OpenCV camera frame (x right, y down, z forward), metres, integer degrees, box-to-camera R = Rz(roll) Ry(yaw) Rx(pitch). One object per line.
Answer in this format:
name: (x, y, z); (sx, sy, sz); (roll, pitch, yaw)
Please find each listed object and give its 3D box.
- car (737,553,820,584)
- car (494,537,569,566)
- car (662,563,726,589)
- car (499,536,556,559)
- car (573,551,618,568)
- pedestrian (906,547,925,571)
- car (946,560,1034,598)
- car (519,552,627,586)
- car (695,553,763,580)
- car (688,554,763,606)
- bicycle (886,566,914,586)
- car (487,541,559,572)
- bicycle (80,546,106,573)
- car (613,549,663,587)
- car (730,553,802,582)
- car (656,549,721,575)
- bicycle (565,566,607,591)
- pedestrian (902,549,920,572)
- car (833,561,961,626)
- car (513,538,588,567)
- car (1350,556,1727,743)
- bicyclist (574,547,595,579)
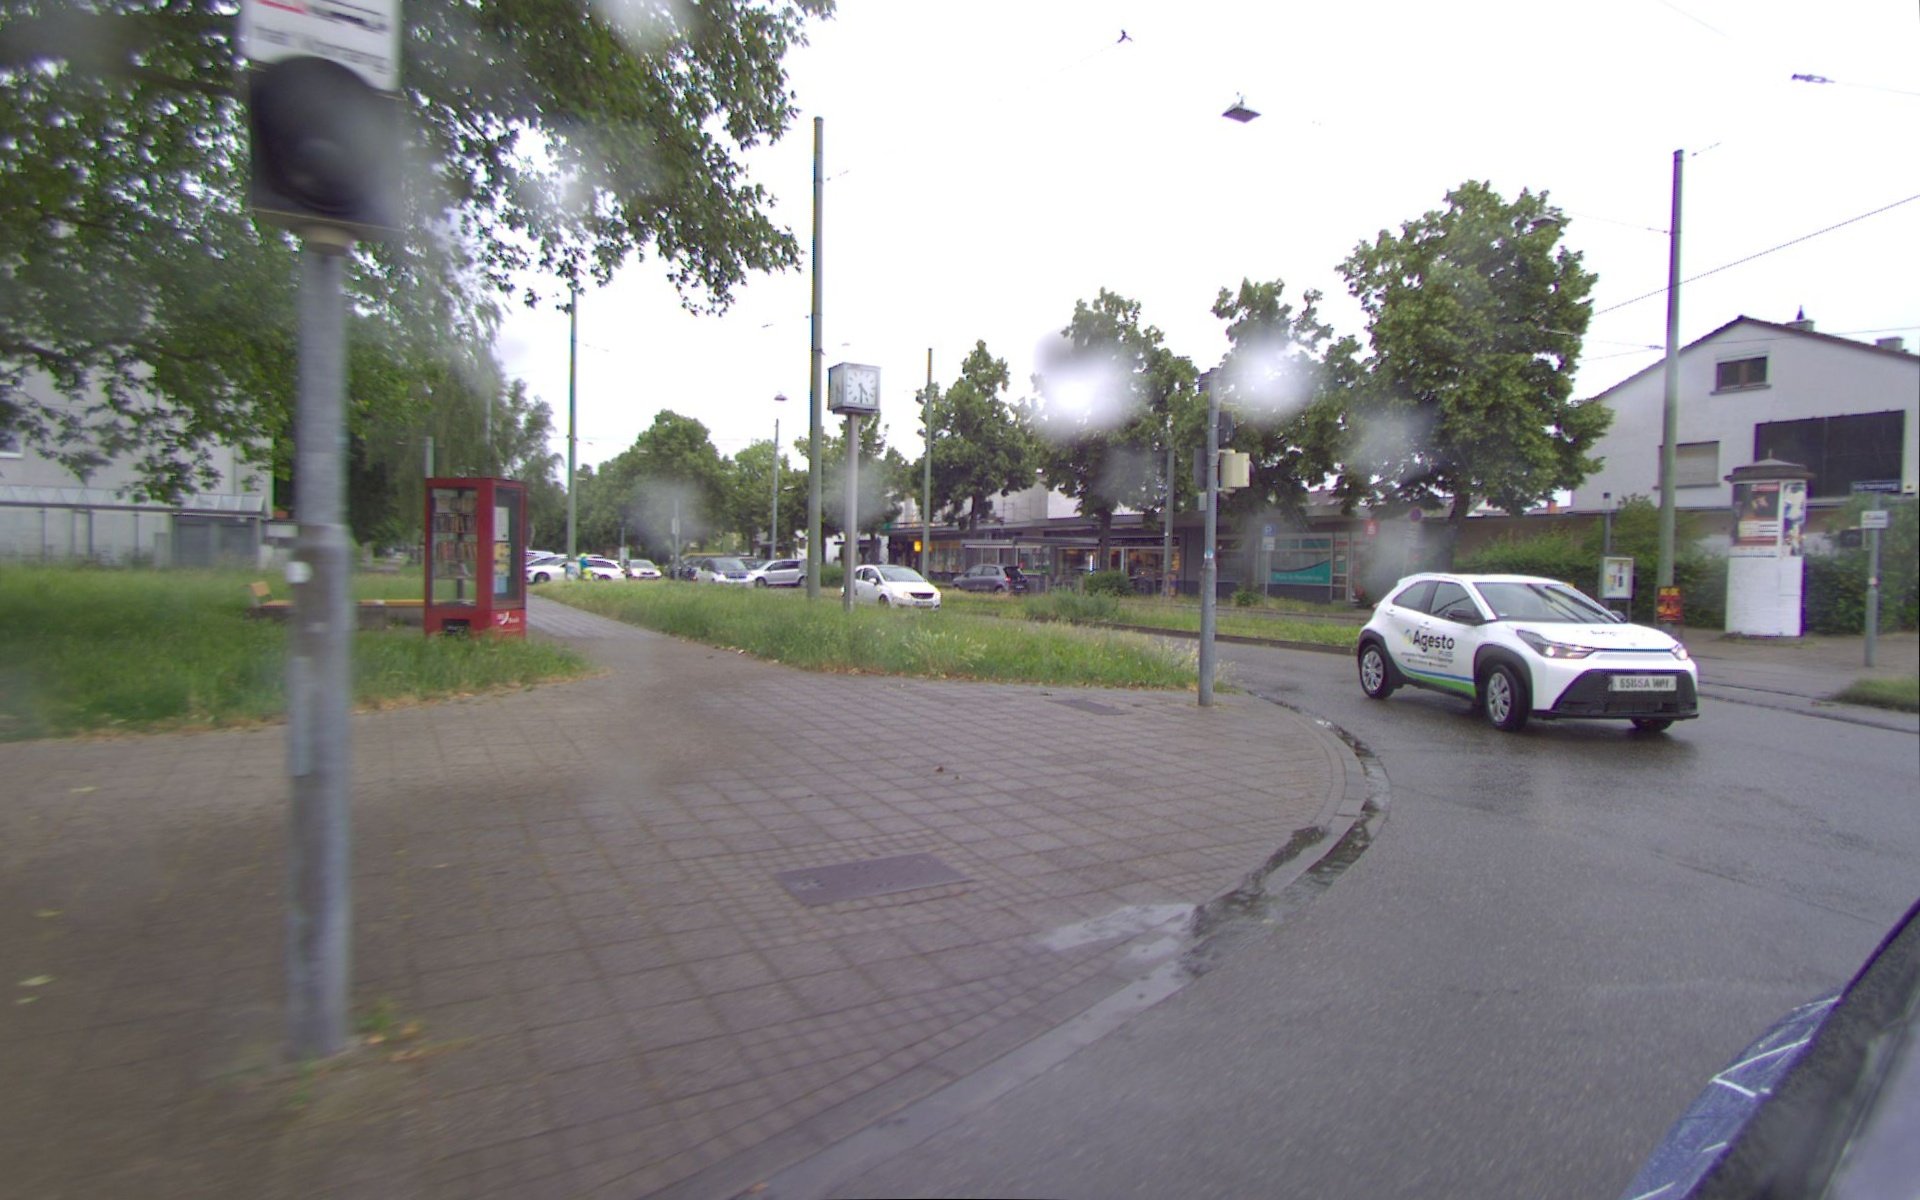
car: (-10.467, -1.839, 58.448); (4.252, 1.694, 2.002); (-2, 3, -31)
car: (-28.128, -3.210, 66.487); (4.356, 1.868, 1.726); (-2, 3, -28)
car: (-19.558, -1.773, 74.538); (4.220, 1.831, 1.901); (-2, 3, -31)
car: (-38.823, -4.716, 90.812); (4.459, 1.967, 1.901); (-2, 3, -31)
car: (-40.675, -4.533, 112.963); (4.459, 1.967, 1.901); (-2, 3, -31)
pedestrian: (-3.230, -2.965, 73.294); (1.057, 1.735, 0.950); (1, 2, -19)
car: (1.245, -0.934, 42.982); (3.611, 1.521, 1.528); (2, 4, 43)
car: (-19.150, -1.519, 50.133); (4.743, 1.476, 2.003); (2, 1, -29)
car: (-15.405, -2.250, 67.595); (4.010, 1.730, 1.901); (-2, 3, -31)
car: (-9.856, -0.906, 42.359); (1.961, 2.038, 4.005); (-2, 3, -30)
bicycle: (-3.481, -1.403, 58.684); (1.745, 1.086, 0.584); (3, 2, 43)
car: (-30.775, -3.065, 71.289); (4.360, 2.087, 1.724); (-3, 3, -33)
bicycle: (-31.313, -1.470, 36.555); (0.370, 0.967, 1.240); (-2, 3, -26)
car: (-18.612, -1.876, 58.386); (1.960, 2.038, 4.006); (-3, 4, -29)
car: (-11.687, -1.966, 60.950); (3.869, 1.694, 1.796); (-2, 3, -31)
car: (-20.791, -2.916, 77.650); (4.459, 1.967, 1.901); (-2, 3, -31)
bicycle: (-17.766, -1.036, 48.122); (0.726, 1.144, 1.727); (1, 2, 42)
pedestrian: (-3.610, -2.910, 74.337); (1.057, 1.603, 0.950); (1, 2, -19)
car: (-1.891, -0.249, 29.104); (1.926, 1.571, 4.004); (-1, 5, -34)
car: (-24.033, -2.793, 59.398); (3.920, 1.605, 1.726); (-2, 3, -28)
car: (5.880, 0.414, 10.869); (1.686, 1.644, 3.718); (0, 1, -5)
bicyclist: (-17.821, -1.750, 48.061); (0.722, 1.535, 0.688); (1, 1, 42)
